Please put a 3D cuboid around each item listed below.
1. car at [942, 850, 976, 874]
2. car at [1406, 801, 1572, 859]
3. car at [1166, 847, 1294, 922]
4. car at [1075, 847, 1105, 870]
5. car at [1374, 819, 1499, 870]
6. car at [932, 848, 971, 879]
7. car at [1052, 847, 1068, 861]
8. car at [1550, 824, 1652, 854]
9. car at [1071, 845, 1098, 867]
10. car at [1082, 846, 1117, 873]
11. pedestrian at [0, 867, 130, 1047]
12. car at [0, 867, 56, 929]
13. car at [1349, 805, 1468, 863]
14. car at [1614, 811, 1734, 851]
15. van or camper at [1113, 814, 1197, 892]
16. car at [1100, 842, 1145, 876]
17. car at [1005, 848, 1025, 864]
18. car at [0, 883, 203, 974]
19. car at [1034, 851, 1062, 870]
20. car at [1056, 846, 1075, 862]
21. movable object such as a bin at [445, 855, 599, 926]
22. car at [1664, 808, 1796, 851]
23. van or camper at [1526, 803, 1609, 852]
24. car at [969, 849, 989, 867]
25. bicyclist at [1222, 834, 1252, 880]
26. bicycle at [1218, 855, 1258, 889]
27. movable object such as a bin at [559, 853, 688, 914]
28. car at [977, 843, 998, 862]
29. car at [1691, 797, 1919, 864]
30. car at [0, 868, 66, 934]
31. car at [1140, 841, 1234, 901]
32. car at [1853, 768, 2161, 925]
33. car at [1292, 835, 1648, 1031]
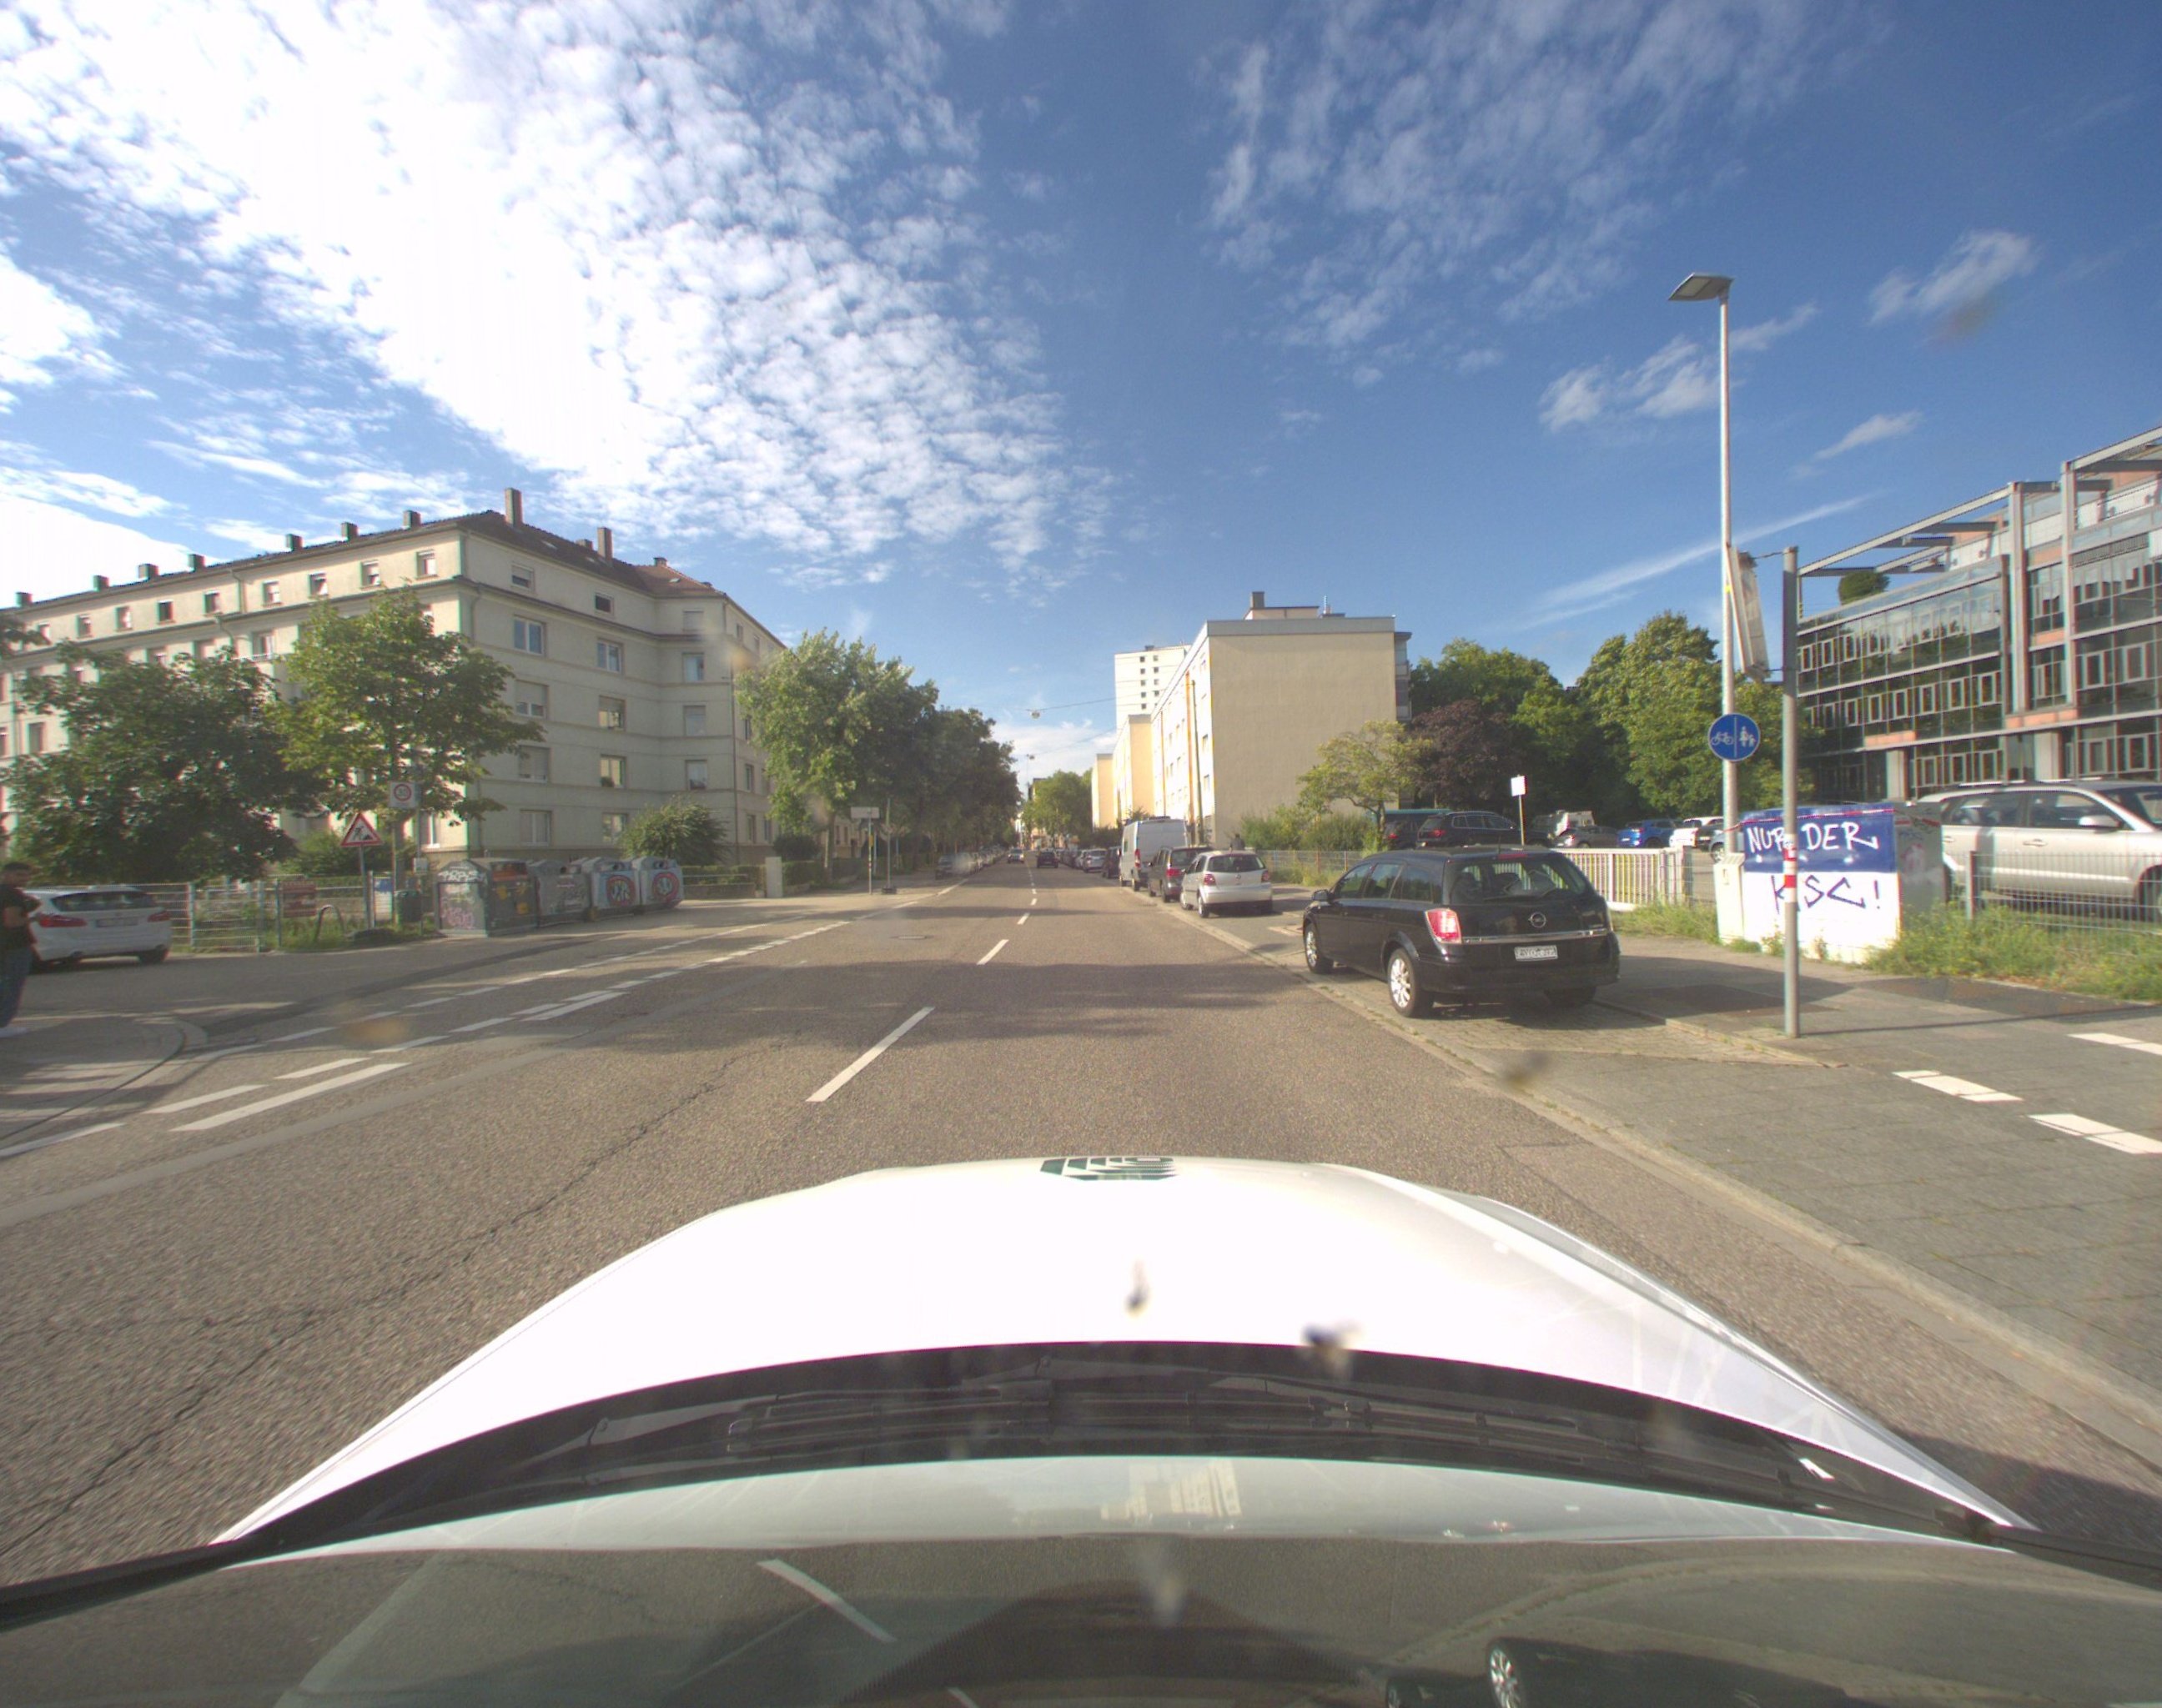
[{"bbox_3d":[-7.814,0.485,52.564,1.992,1.451,3.895,-3,1,-7],"label":"car"},{"bbox_3d":[13.254,-0.755,26.672,4.430,1.621,2.002,-3,1,2],"label":"car"},{"bbox_3d":[3.452,0.653,19.907,2.010,1.474,4.798,-4,0,-2],"label":"car"},{"bbox_3d":[0.639,0.317,60.527,1.988,1.530,3.998,-3,1,-2],"label":"car"},{"bbox_3d":[13.750,-0.376,31.663,3.971,1.738,2.001,-3,1,2],"label":"car"},{"bbox_3d":[-7.477,0.505,47.208,1.992,1.640,3.990,-3,1,-7],"label":"car"},{"bbox_3d":[-2.850,-0.020,108.847,1.988,1.684,3.998,-3,1,-2],"label":"car"},{"bbox_3d":[26.720,-0.753,41.944,3.978,1.329,1.998,-3,1,-3],"label":"car"},{"bbox_3d":[0.267,0.140,64.917,1.988,1.574,3.998,-3,1,-2],"label":"car"},{"bbox_3d":[1.140,0.330,52.541,1.988,1.574,3.998,-3,1,-2],"label":"car"},{"bbox_3d":[-10.917,1.011,8.342,1.008,1.728,1.173,-1,-1,-13],"label":"pedestrian"},{"bbox_3d":[-37.127,1.536,26.595,1.979,2.013,4.016,-2,1,14],"label":"car"},{"bbox_3d":[13.624,-0.818,34.071,4.103,2.186,2.001,-3,0,2],"label":"car"},{"bbox_3d":[26.553,-1.005,36.570,3.977,1.552,1.999,-3,1,-2],"label":"car"},{"bbox_3d":[2.693,-0.063,31.094,2.206,2.607,5.363,-3,1,-5],"label":"van or camper"},{"bbox_3d":[2.086,0.245,42.010,1.988,1.574,3.998,-3,1,-2],"label":"car"},{"bbox_3d":[-7.445,0.156,91.635,2.054,1.663,3.917,-3,1,-7],"label":"car"},{"bbox_3d":[-20.060,1.391,15.954,4.230,1.555,2.007,-1,0,13],"label":"car"},{"bbox_3d":[-2.815,0.522,68.611,1.992,1.570,3.990,-1,0,-7],"label":"car"},{"bbox_3d":[-1.696,-0.030,90.035,1.988,1.574,3.998,-3,1,-2],"label":"car"},{"bbox_3d":[-14.273,0.899,20.852,3.081,1.708,1.553,-1,0,13],"label":"movable object such as a bin"},{"bbox_3d":[27.105,-1.005,34.117,3.977,1.596,1.999,-3,1,-2],"label":"car"},{"bbox_3d":[30.825,-1.613,51.780,2.320,2.874,5.123,-1,0,2],"label":"van or camper"},{"bbox_3d":[-9.620,0.360,77.068,1.805,1.561,3.425,-3,1,-7],"label":"car"},{"bbox_3d":[5.393,0.100,28.171,0.735,1.513,0.874,-4,0,-1],"label":"bicyclist"},{"bbox_3d":[5.428,0.598,28.306,0.738,1.034,2.761,-4,0,-1],"label":"bicycle"},{"bbox_3d":[-13.319,0.843,23.757,3.082,1.708,1.415,-1,0,12],"label":"movable object such as a bin"},{"bbox_3d":[-10.748,-0.154,93.717,1.988,2.013,3.998,-3,1,-2],"label":"car"},{"bbox_3d":[17.980,-0.560,20.513,1.991,1.442,3.992,-3,1,-6],"label":"car"},{"bbox_3d":[-34.943,1.540,25.127,1.979,2.013,4.016,-2,1,14],"label":"car"},{"bbox_3d":[3.152,0.455,25.073,1.990,1.615,4.402,-3,1,-4],"label":"car"},{"bbox_3d":[12.490,-0.138,10.042,1.987,1.665,4.151,-3,1,0],"label":"car"},{"bbox_3d":[3.648,0.622,8.611,1.712,1.496,4.268,-2,0,0],"label":"car"}]
